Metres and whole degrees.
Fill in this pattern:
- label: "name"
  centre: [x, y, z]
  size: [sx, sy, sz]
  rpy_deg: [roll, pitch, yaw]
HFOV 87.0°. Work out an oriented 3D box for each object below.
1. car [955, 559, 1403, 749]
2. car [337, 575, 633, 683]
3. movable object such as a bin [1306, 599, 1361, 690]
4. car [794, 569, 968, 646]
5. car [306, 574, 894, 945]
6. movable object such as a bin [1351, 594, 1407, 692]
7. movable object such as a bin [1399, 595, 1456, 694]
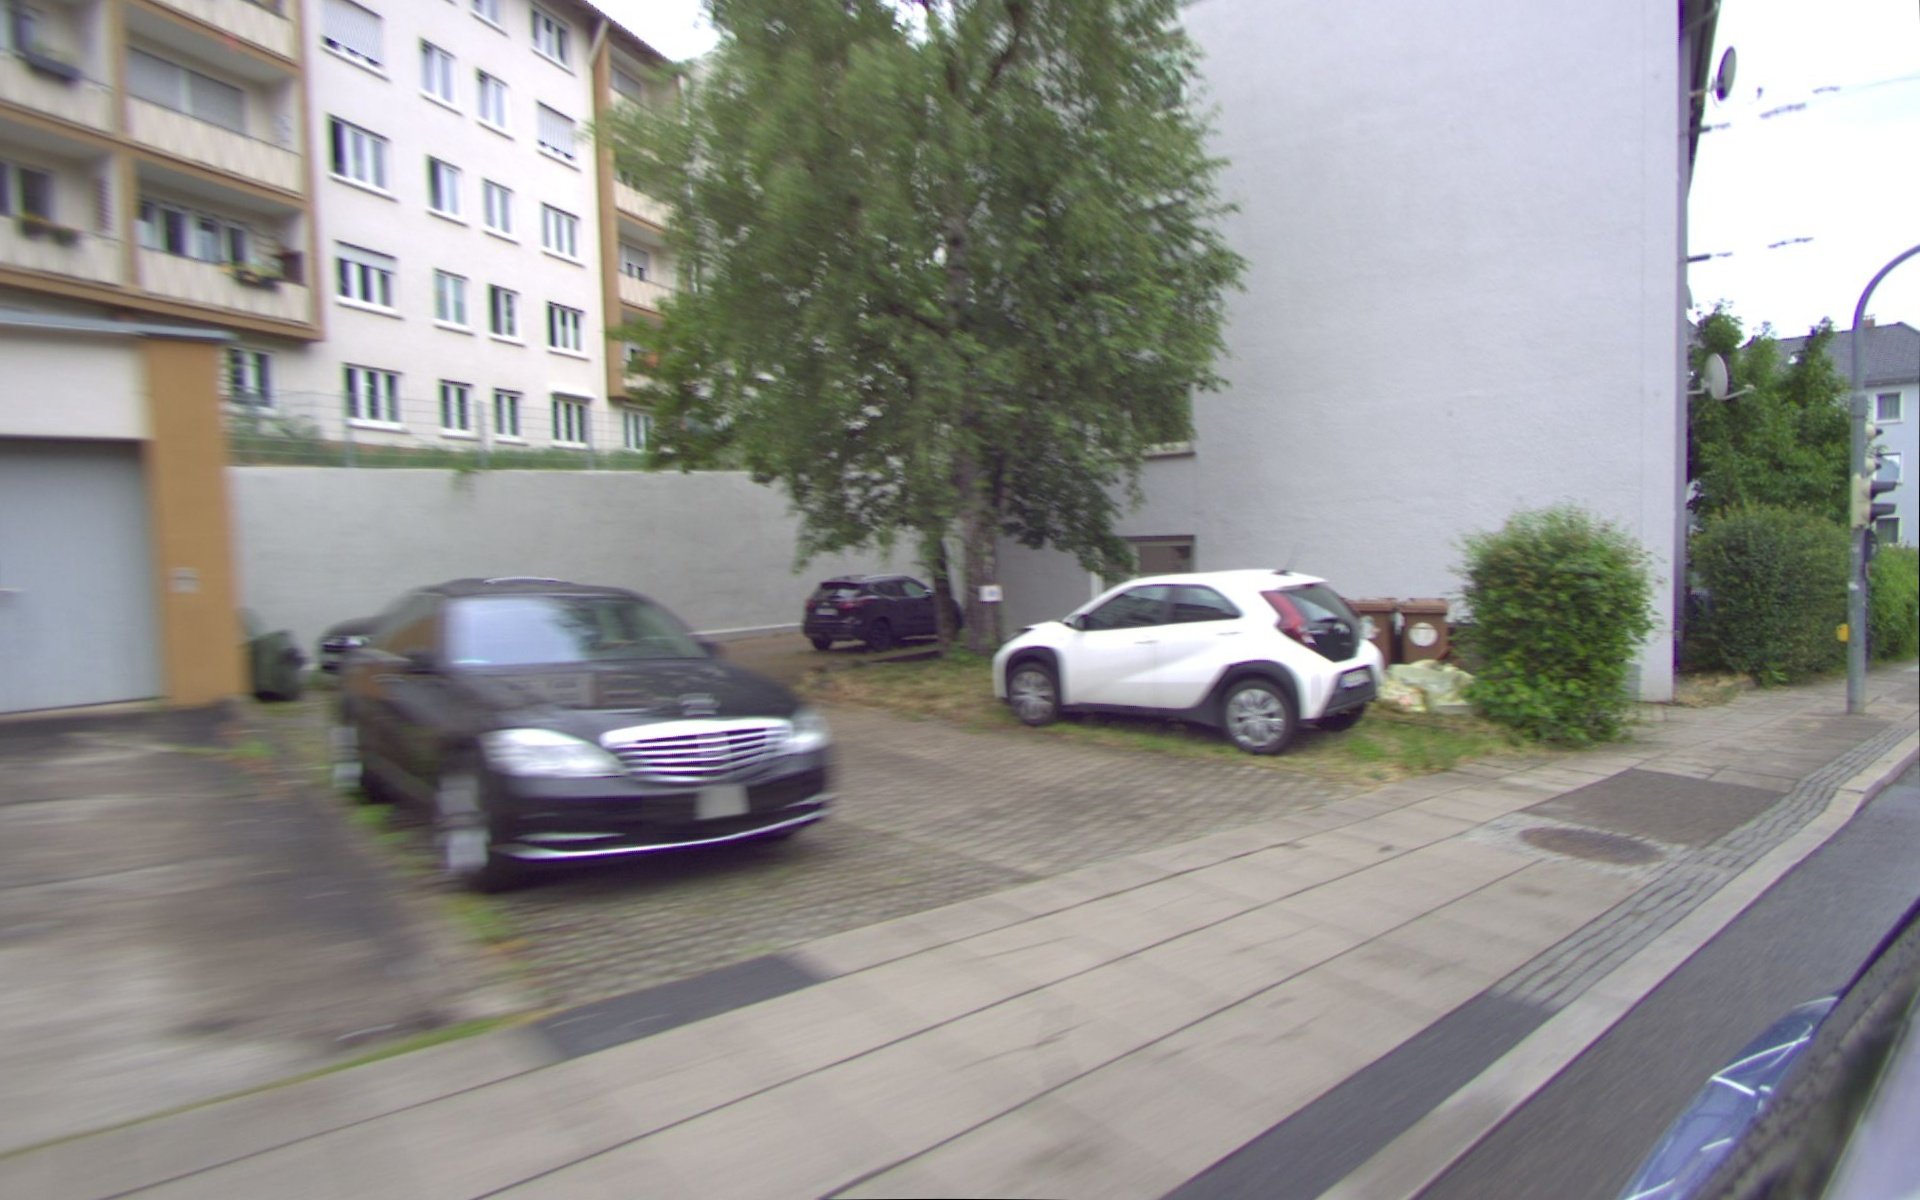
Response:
- label: "car"
  centre: [1.987, 0.450, 9.965]
  size: [3.987, 1.485, 1.788]
  rpy_deg: [-1, -1, 44]
- label: "car"
  centre: [-8.009, 0.454, 17.472]
  size: [1.738, 1.624, 4.368]
  rpy_deg: [-1, -1, 34]
- label: "movable object such as a bin"
  centre: [4.809, 0.555, 13.032]
  size: [0.513, 1.126, 0.635]
  rpy_deg: [1, 0, 35]
- label: "car"
  centre: [-1.653, 0.165, 22.344]
  size: [1.680, 1.531, 3.947]
  rpy_deg: [-1, -1, 36]
- label: "car"
  centre: [-2.677, 0.650, 6.503]
  size: [1.940, 1.455, 4.939]
  rpy_deg: [-1, 0, -40]
- label: "movable object such as a bin"
  centre: [5.242, 0.518, 12.650]
  size: [0.513, 1.173, 0.635]
  rpy_deg: [1, 0, 35]
- label: "movable object such as a bin"
  centre: [5.690, 0.526, 12.306]
  size: [0.531, 1.155, 0.694]
  rpy_deg: [-1, -1, 33]
